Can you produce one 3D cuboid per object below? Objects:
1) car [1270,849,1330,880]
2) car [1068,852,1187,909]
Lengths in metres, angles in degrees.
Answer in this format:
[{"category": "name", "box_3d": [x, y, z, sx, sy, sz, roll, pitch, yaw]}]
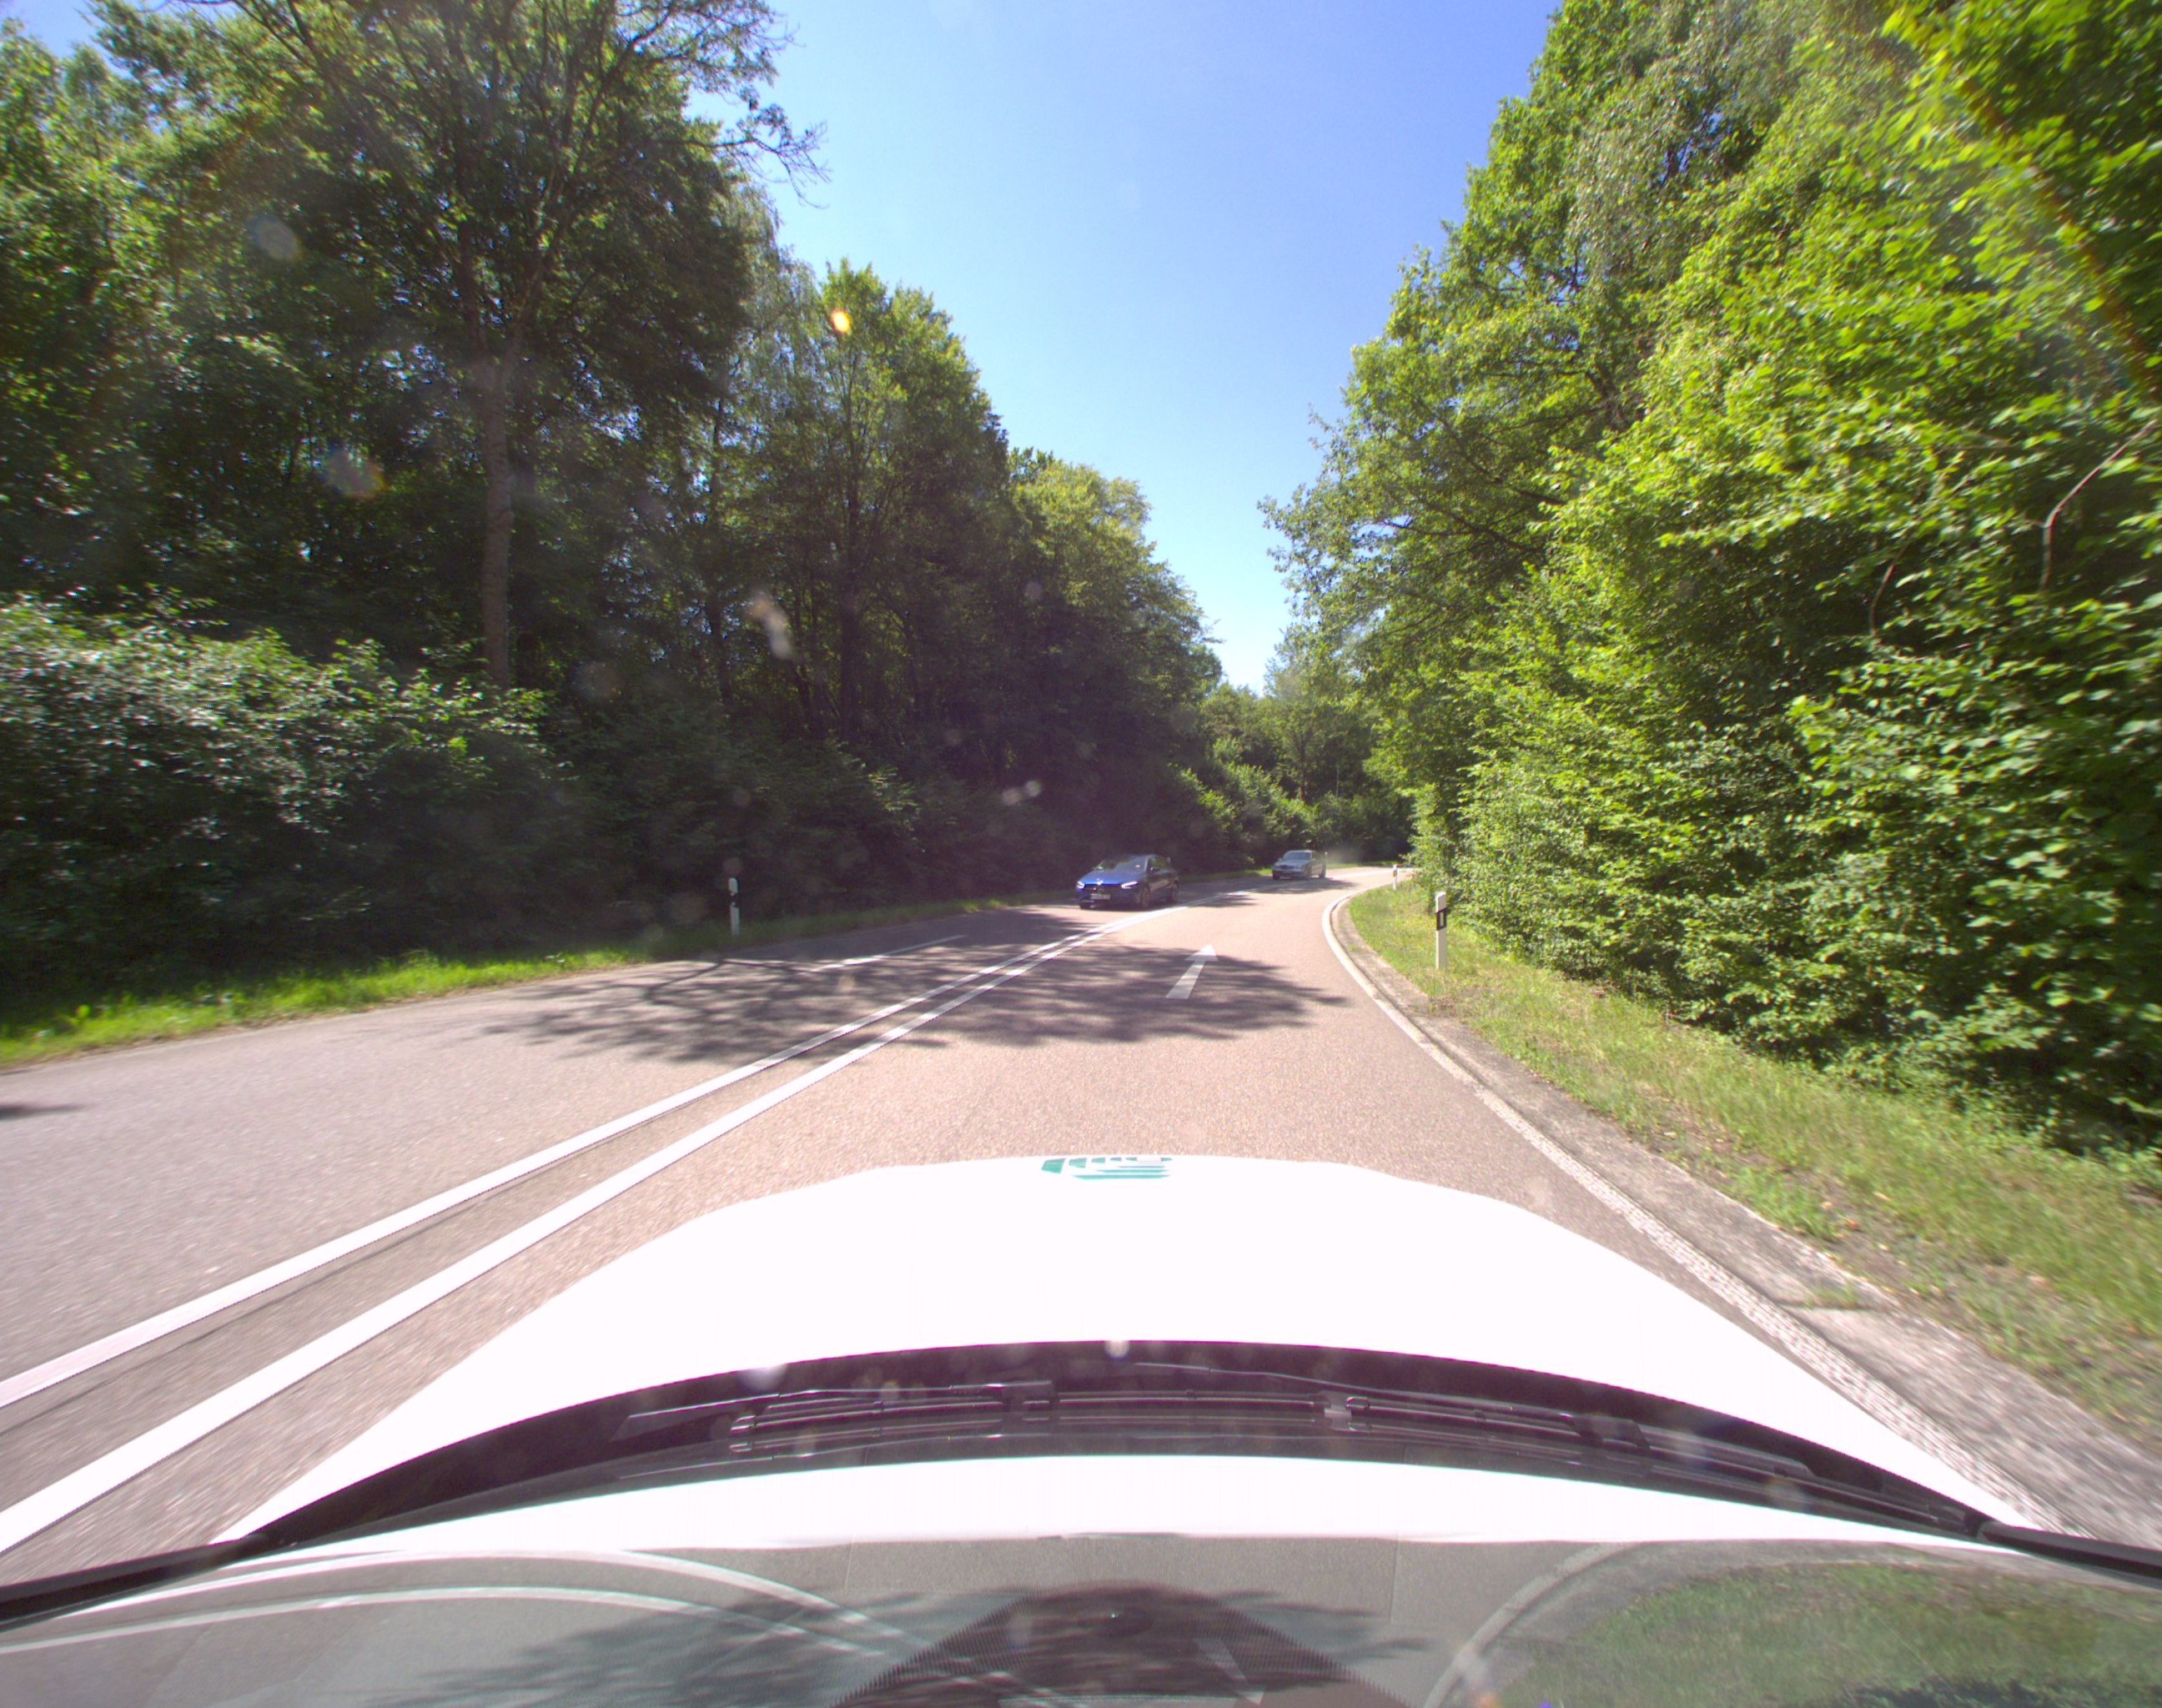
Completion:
[{"category": "car", "box_3d": [11.220, 0.502, 41.541, 1.828, 1.486, 4.794, -1, -1, 29]}, {"category": "car", "box_3d": [1.409, 0.678, 22.500, 1.772, 1.406, 4.386, -1, -1, 25]}]
